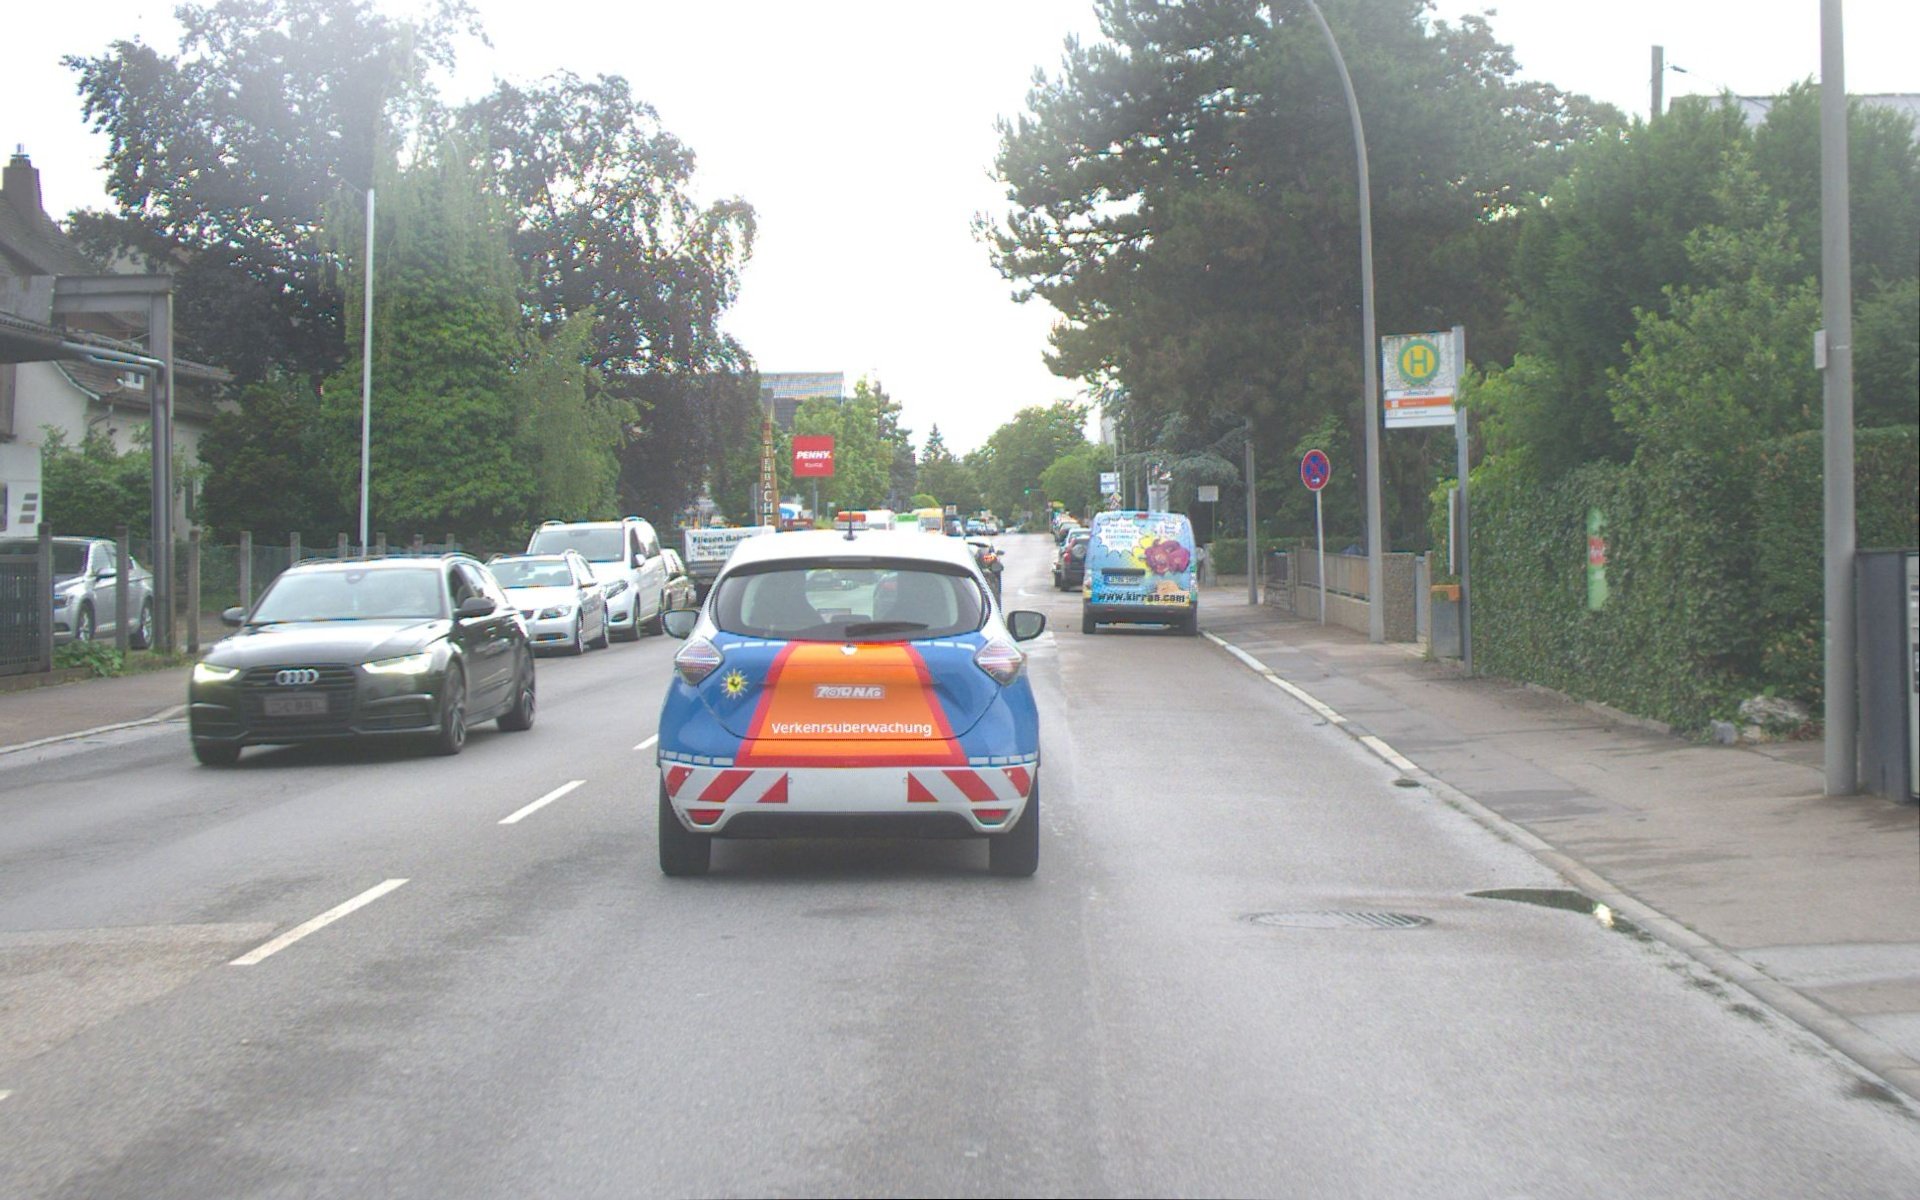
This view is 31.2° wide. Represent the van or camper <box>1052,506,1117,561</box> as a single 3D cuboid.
[{"bbox_3d":[4.139,-2.240,114.984,1.993,1.778,4.000,-1,1,0],"label":"van or camper"}]

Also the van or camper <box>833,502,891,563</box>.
[{"bbox_3d":[-3.879,-2.692,136.513,2.161,2.345,4.334,-1,1,0],"label":"van or camper"}]

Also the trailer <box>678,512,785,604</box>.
[{"bbox_3d":[-5.395,-0.965,81.656,2.220,2.007,4.436,2,-1,0],"label":"trailer"}]

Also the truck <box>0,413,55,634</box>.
[{"bbox_3d":[-13.899,-1.035,44.910,2.394,2.917,5.957,2,0,1],"label":"truck"}]

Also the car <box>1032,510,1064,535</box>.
[{"bbox_3d":[5.807,-5.152,227.885,1.993,1.580,4.000,-1,1,0],"label":"car"}]

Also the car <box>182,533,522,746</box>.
[{"bbox_3d":[-4.475,0.297,25.944,1.742,1.446,4.543,-1,-1,0],"label":"car"}]

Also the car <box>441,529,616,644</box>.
[{"bbox_3d":[-5.982,-0.150,48.055,1.742,1.475,4.183,-2,-1,2],"label":"car"}]

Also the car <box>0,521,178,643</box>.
[{"bbox_3d":[-11.348,-0.237,43.027,1.936,1.439,4.782,0,0,1],"label":"car"}]

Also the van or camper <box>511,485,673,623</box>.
[{"bbox_3d":[-5.783,-0.679,54.575,1.890,2.007,5.097,2,-1,1],"label":"van or camper"}]

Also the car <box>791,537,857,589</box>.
[{"bbox_3d":[-4.446,-1.197,112.753,1.993,1.590,4.000,2,-1,0],"label":"car"}]

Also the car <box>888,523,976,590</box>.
[{"bbox_3d":[-0.659,-1.093,84.737,1.993,1.415,4.000,-3,3,1],"label":"car"}]

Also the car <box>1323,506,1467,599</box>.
[{"bbox_3d":[7.603,-0.813,60.430,1.993,1.481,4.000,2,-1,0],"label":"car"}]

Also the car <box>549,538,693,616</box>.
[{"bbox_3d":[-5.897,-0.427,60.166,1.993,1.284,4.000,-1,1,2],"label":"car"}]

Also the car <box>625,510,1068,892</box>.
[{"bbox_3d":[-0.517,0.387,16.700,1.888,1.626,4.000,0,1,-1],"label":"car"}]

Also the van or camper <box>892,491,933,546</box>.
[{"bbox_3d":[-2.431,-4.191,176.654,1.993,2.765,5.441,-1,1,0],"label":"van or camper"}]

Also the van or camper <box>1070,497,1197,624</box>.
[{"bbox_3d":[2.635,-0.635,53.009,1.754,1.876,4.000,0,1,0],"label":"van or camper"}]

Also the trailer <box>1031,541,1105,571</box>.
[{"bbox_3d":[2.972,-1.221,95.048,1.938,0.751,2.859,-1,1,0],"label":"trailer"}]
